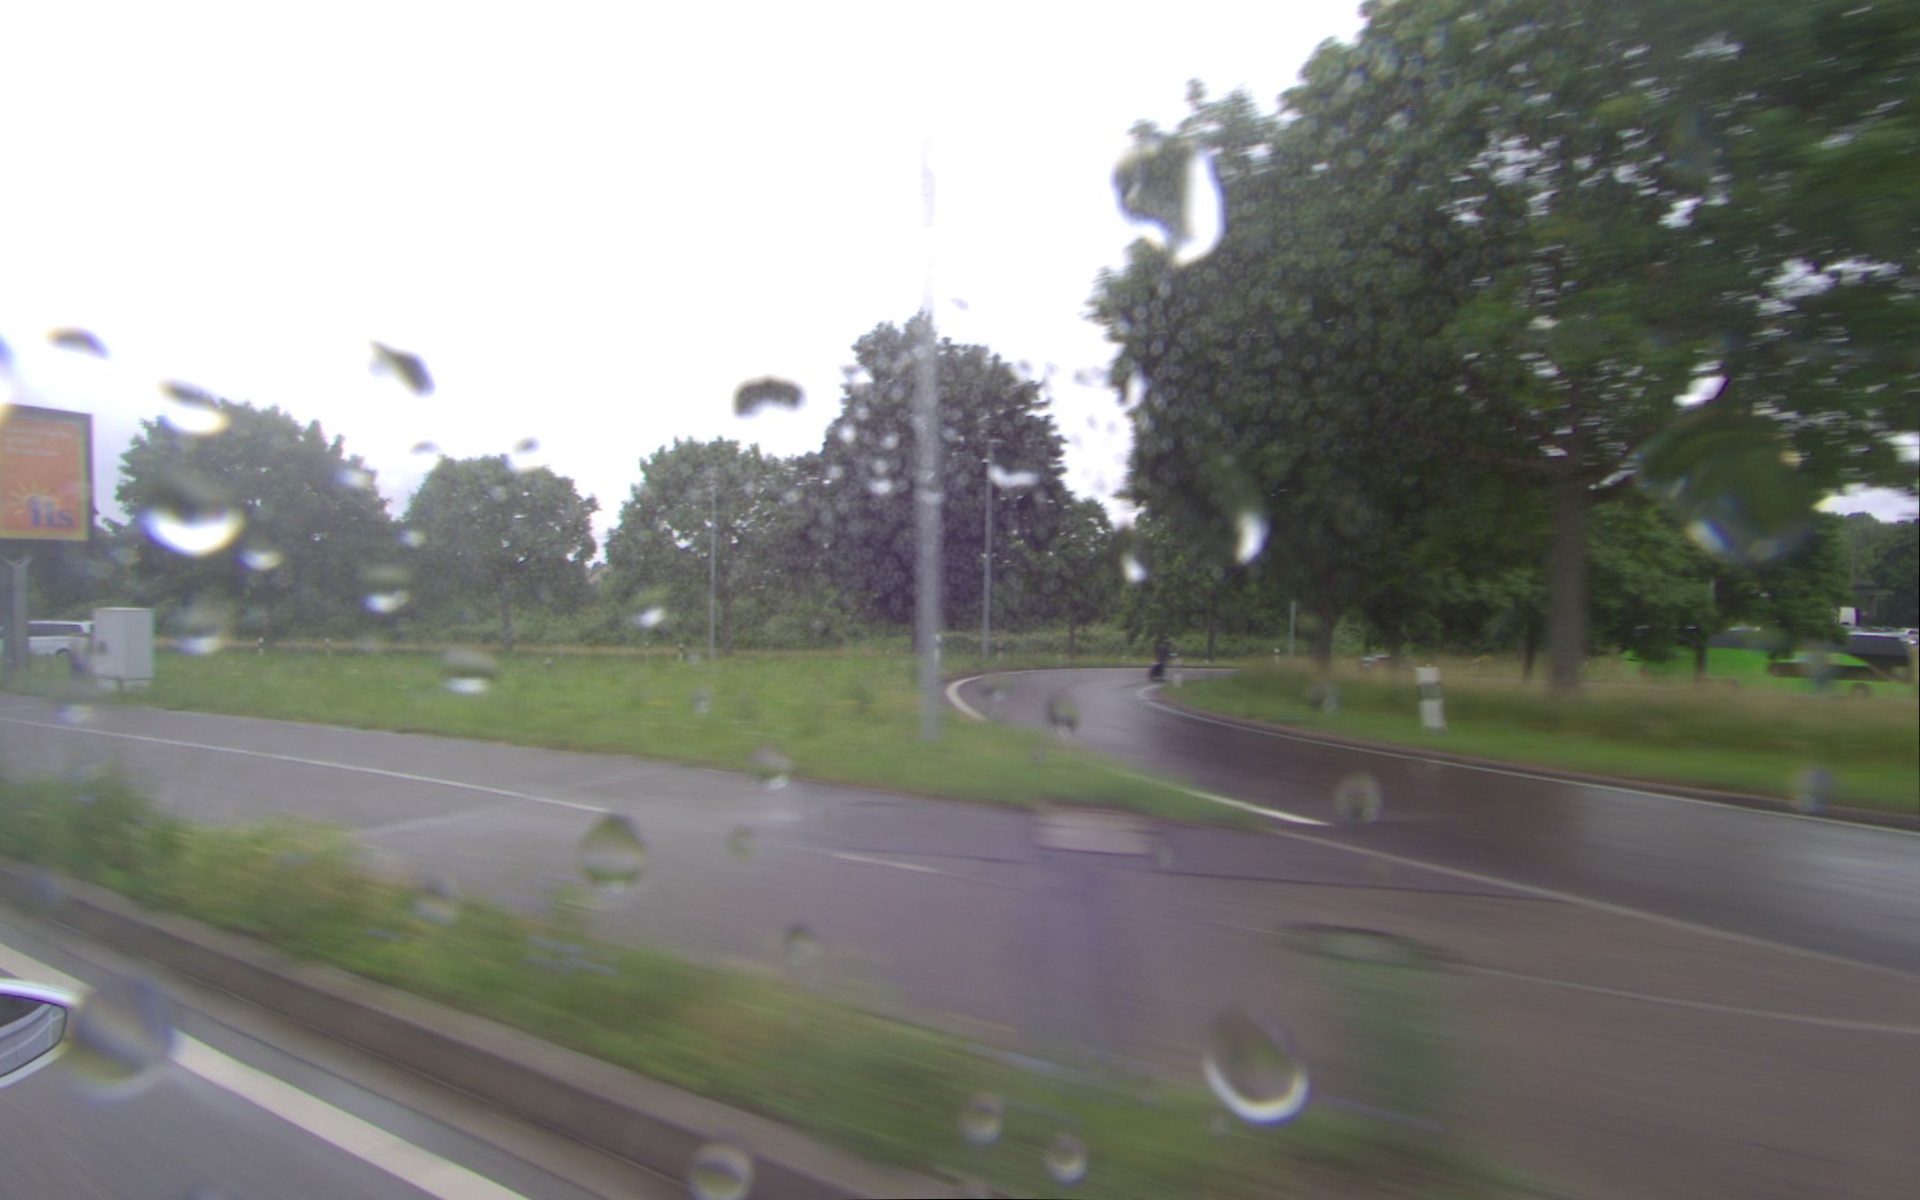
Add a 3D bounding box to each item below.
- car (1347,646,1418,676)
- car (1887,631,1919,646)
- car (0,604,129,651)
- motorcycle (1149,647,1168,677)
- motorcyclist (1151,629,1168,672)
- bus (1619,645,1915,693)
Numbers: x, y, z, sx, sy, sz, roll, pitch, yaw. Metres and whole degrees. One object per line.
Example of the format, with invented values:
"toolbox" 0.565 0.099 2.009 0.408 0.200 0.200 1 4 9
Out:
"car" 24.654 3.525 58.442 3.943 1.639 1.851 1 -1 -30
"car" 114.725 4.617 121.304 1.964 1.726 3.995 0 -1 17
"car" -39.332 1.203 43.509 4.521 2.000 2.065 1 -1 -8
"motorcycle" 8.241 2.555 41.434 0.592 1.108 1.729 0 0 17
"motorcyclist" 8.248 2.070 41.407 0.592 1.712 0.859 0 1 17
"bus" 48.216 4.119 60.320 14.313 2.715 2.762 -1 0 10
